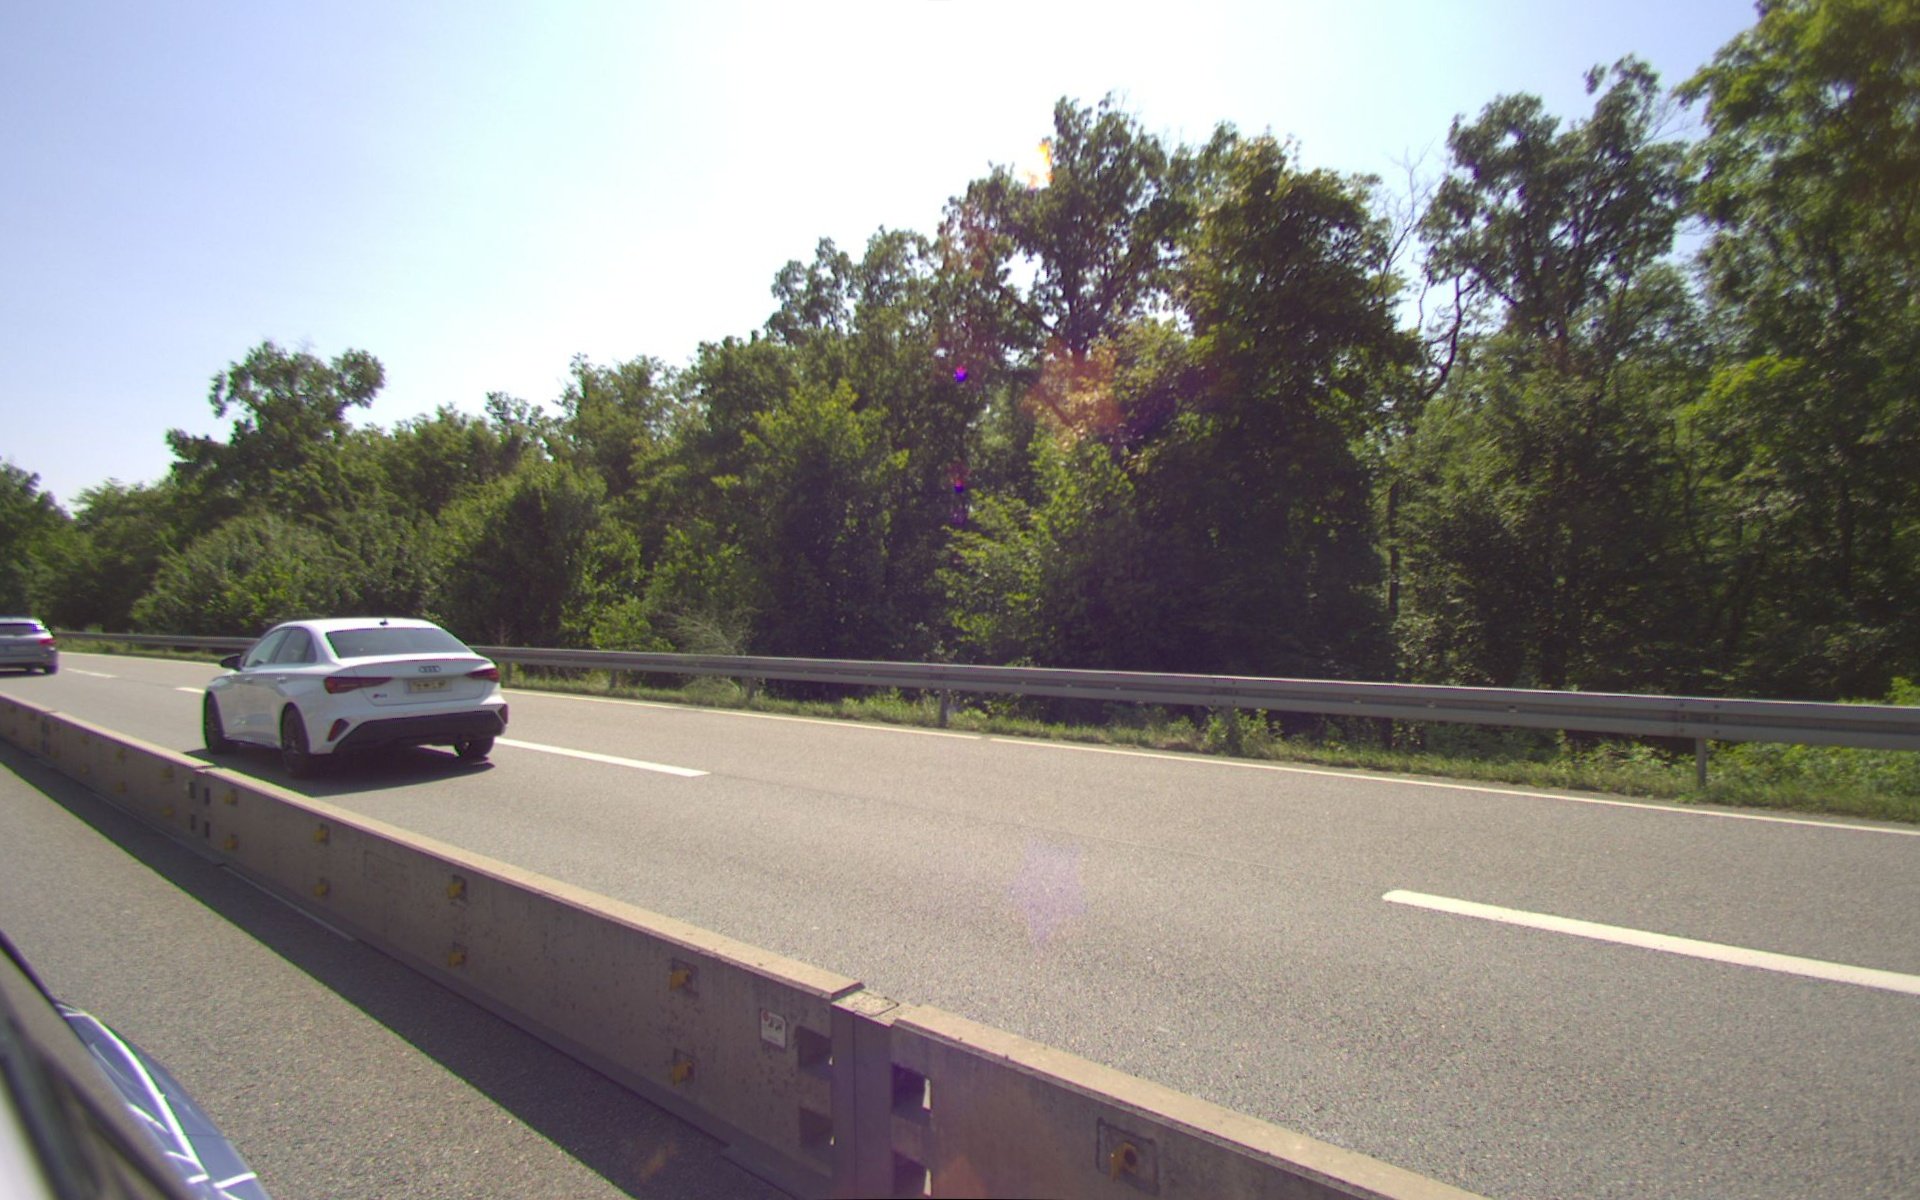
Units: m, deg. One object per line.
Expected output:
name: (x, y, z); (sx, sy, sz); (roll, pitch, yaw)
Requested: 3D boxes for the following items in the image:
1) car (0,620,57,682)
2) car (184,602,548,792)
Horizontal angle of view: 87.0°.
car: (-24.822, 1.281, 26.041); (4.384, 1.507, 1.708); (-1, -1, 39)
car: (-6.279, 0.825, 10.485); (4.433, 1.550, 1.929); (-1, -1, 41)
